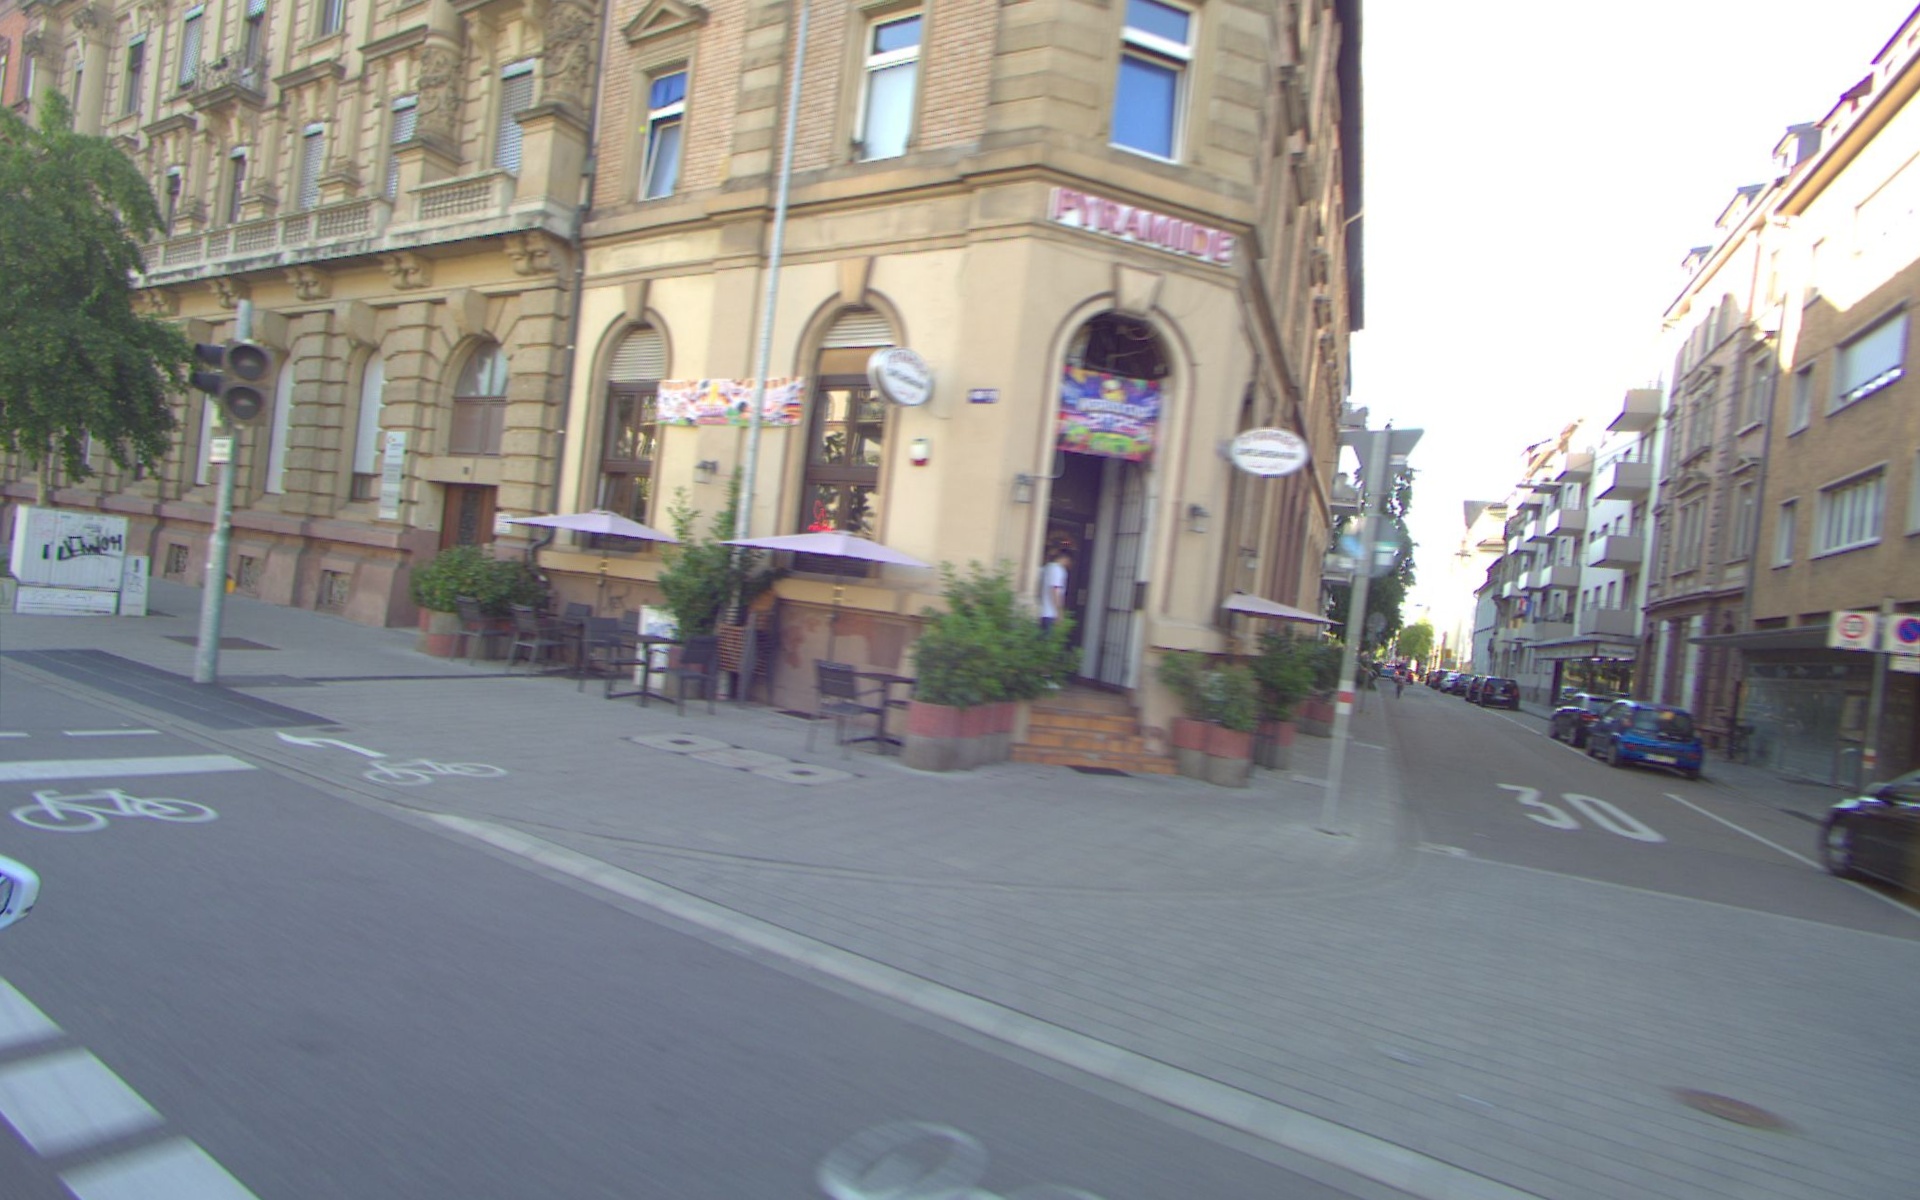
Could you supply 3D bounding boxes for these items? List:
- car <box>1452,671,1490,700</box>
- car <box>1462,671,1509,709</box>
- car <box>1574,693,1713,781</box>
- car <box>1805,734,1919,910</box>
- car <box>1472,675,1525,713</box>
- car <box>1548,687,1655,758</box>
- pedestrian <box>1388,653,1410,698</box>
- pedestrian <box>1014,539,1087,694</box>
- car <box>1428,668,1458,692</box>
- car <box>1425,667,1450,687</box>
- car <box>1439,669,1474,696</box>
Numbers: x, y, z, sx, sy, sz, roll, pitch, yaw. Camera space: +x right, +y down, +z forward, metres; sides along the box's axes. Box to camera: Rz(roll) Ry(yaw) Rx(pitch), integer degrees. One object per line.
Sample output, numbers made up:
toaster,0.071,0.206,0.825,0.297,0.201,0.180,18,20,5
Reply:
car,32.660,5.462,64.347,1.588,1.521,3.512,7,0,20
car,27.701,4.719,53.135,1.588,1.632,3.512,7,0,20
car,15.022,2.955,22.296,1.588,1.438,3.512,7,0,20
car,9.463,2.154,8.910,1.588,1.404,4.154,5,-1,20
car,25.718,4.455,48.128,1.588,1.438,3.512,7,0,20
car,17.066,3.214,26.901,1.588,1.438,3.284,7,0,20
pedestrian,20.717,3.546,47.493,0.604,2.039,0.962,7,2,31
pedestrian,1.065,0.191,11.884,0.443,1.762,0.538,6,1,-31
car,36.999,6.089,77.072,1.588,1.521,3.512,7,0,20
car,44.543,7.165,93.940,1.588,1.521,3.512,7,0,20
car,33.900,5.629,68.803,1.588,1.521,3.512,7,0,20
